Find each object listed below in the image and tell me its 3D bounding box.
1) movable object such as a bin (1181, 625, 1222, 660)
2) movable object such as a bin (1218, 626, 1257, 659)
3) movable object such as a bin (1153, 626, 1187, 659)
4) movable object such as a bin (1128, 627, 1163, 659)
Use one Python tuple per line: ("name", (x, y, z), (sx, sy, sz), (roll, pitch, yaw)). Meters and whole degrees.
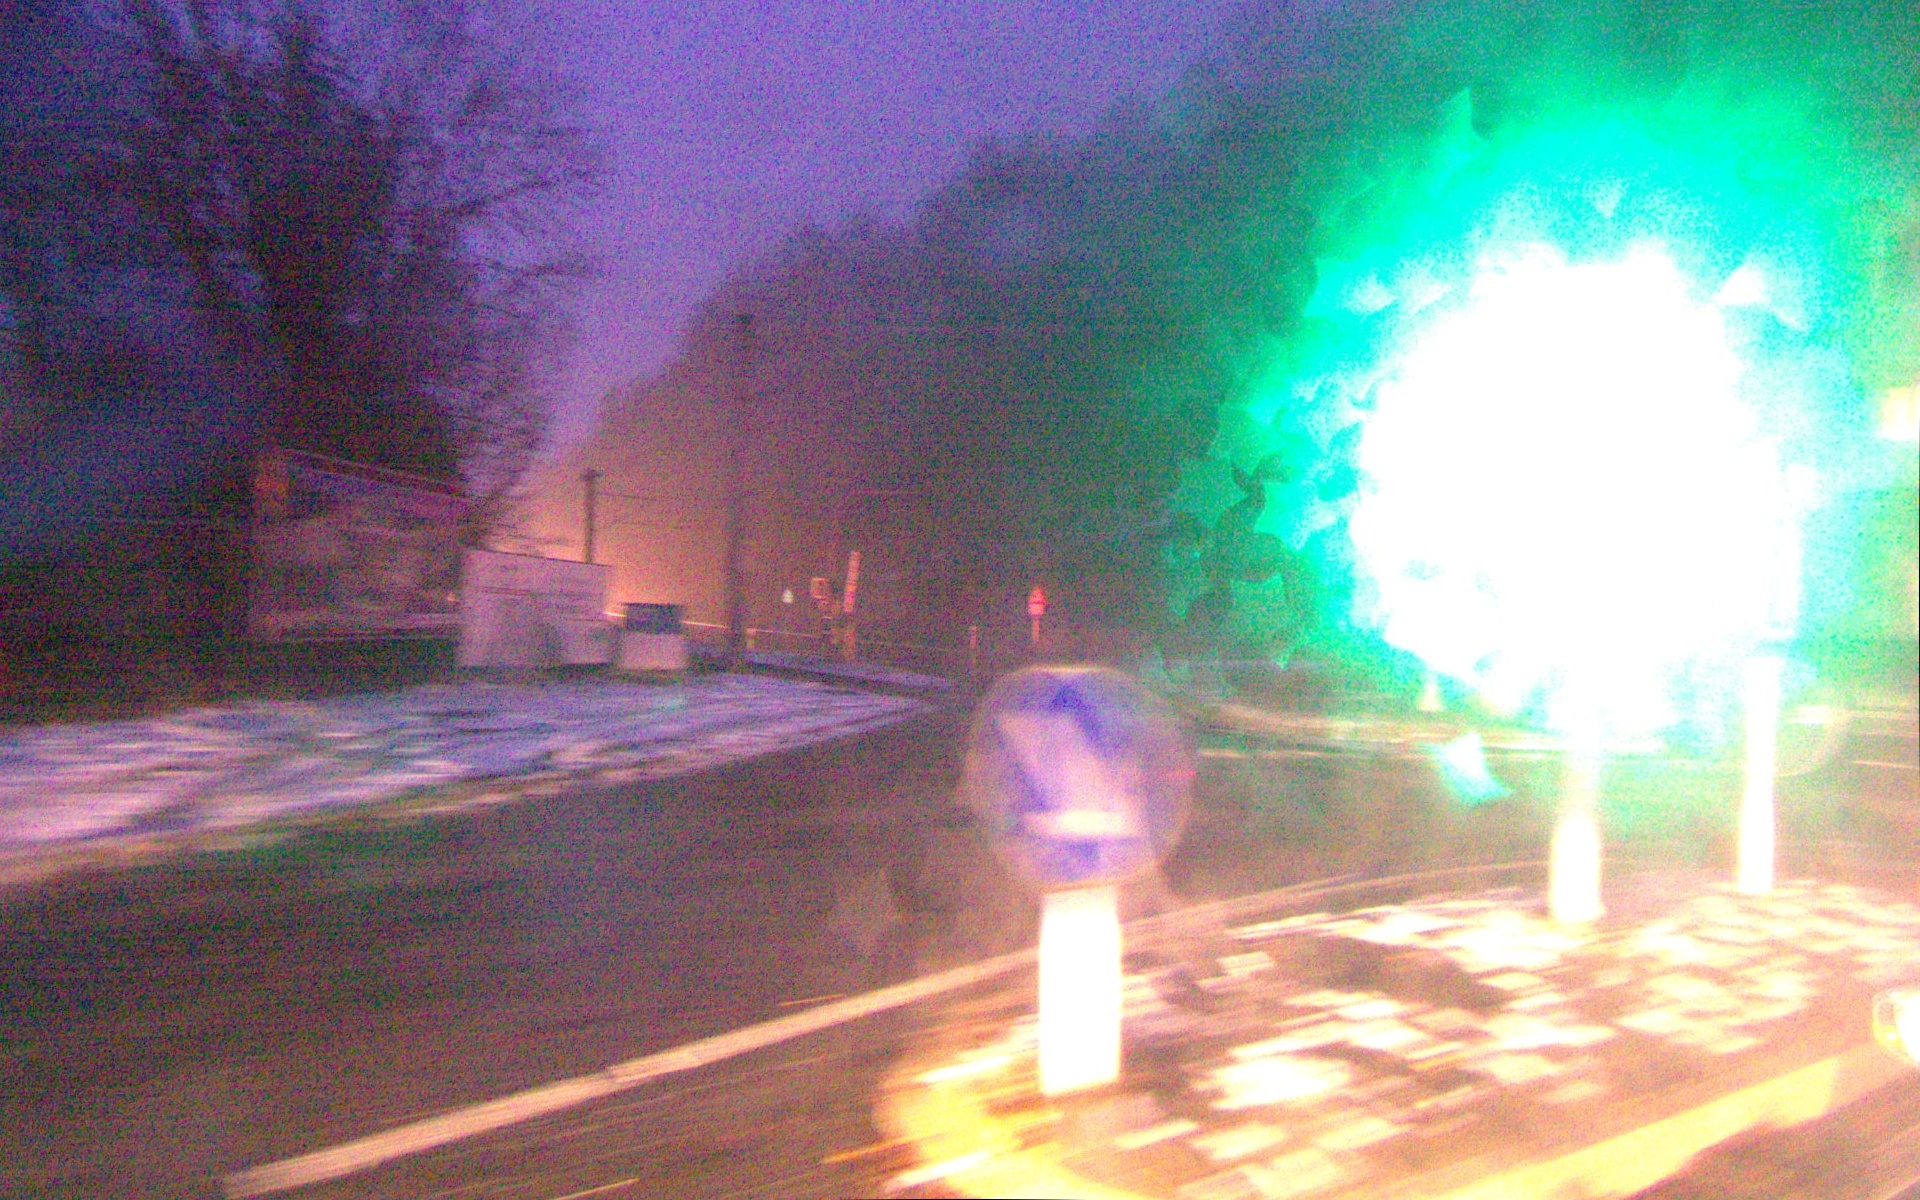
("movable object such as a bin", (10.301, 1.789, 42.796), (1.367, 1.432, 1.248), (0, -1, 32))
("movable object such as a bin", (11.617, 1.769, 42.030), (1.295, 1.316, 1.248), (1, 0, 32))
("movable object such as a bin", (9.103, 1.823, 43.550), (1.210, 1.343, 1.152), (1, 0, 27))
("movable object such as a bin", (8.223, 1.897, 44.448), (1.297, 1.326, 1.175), (0, 0, 24))
